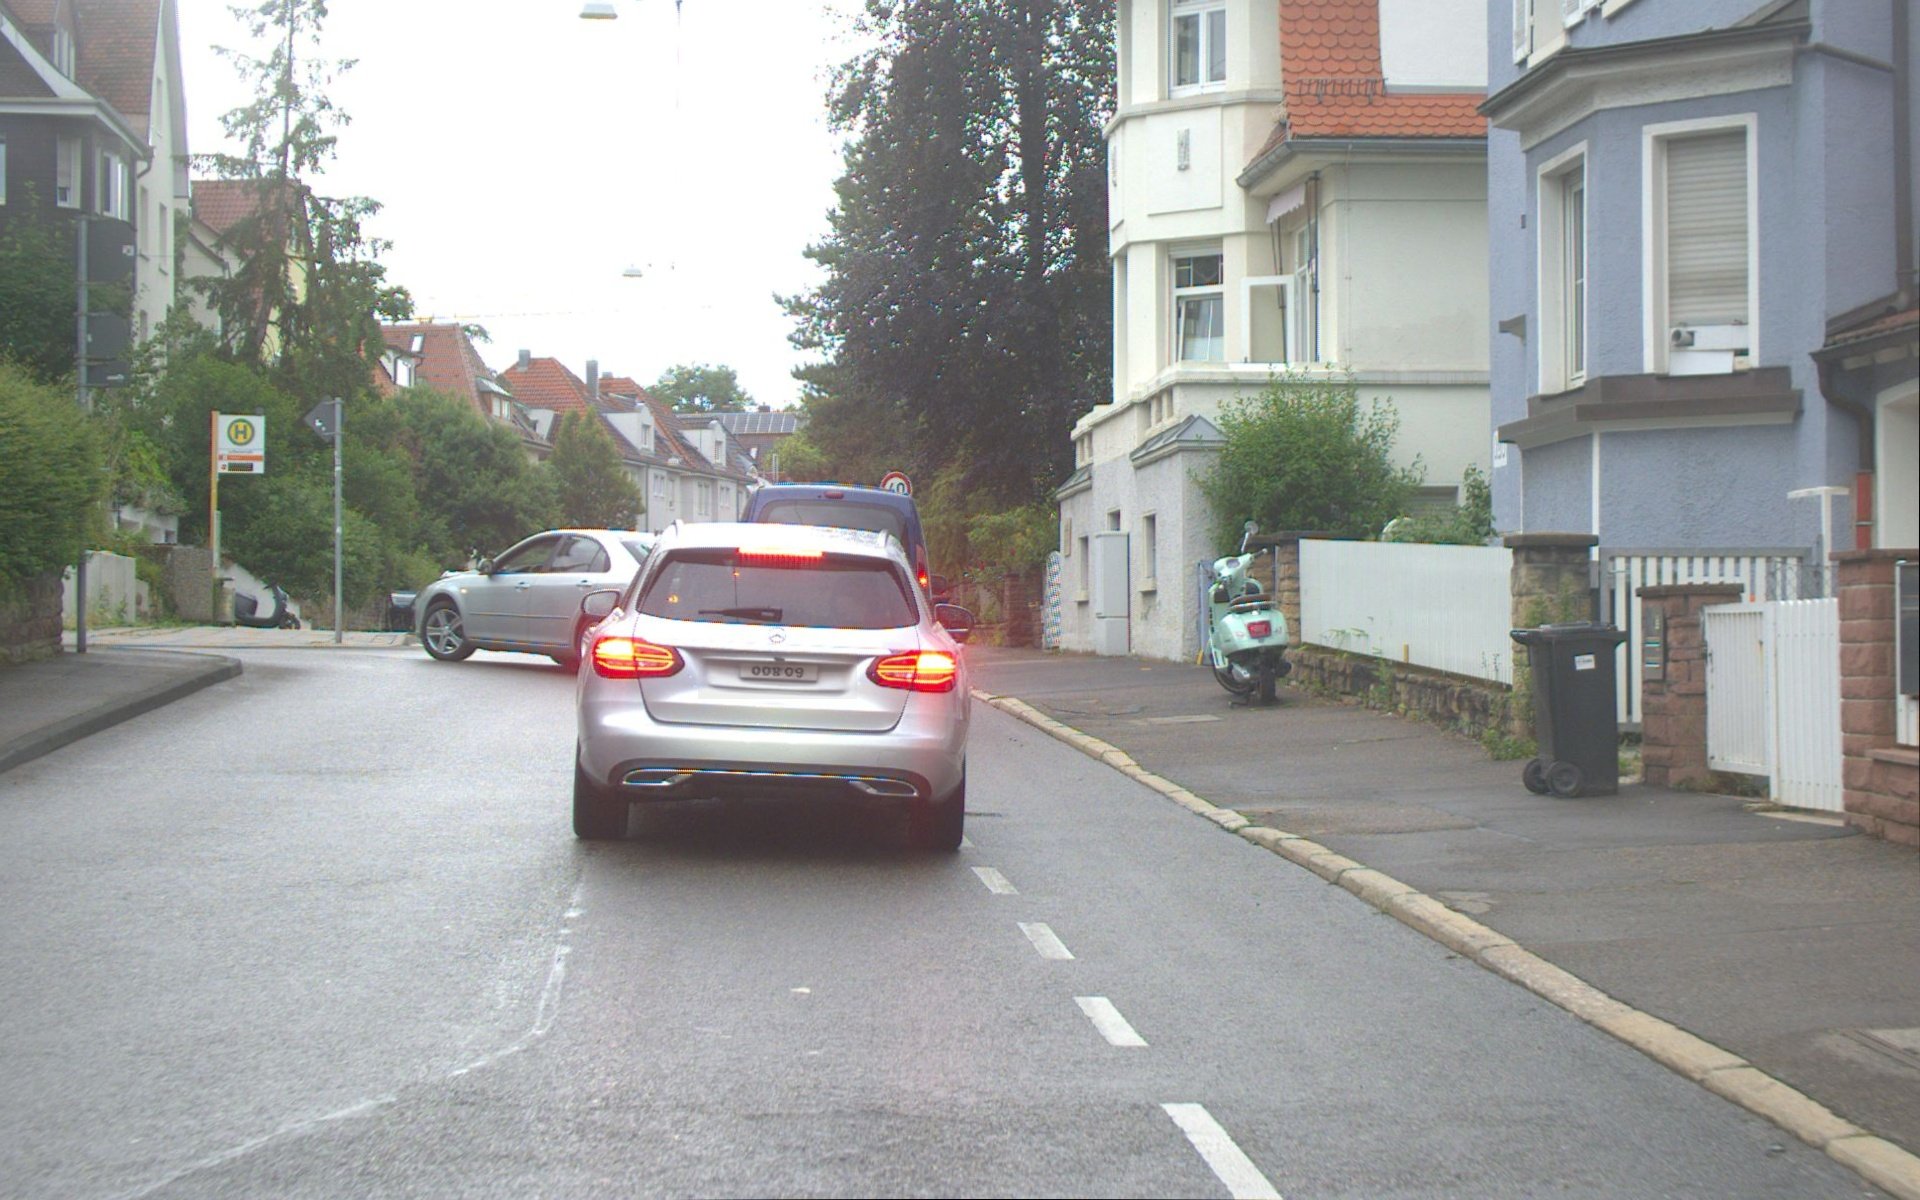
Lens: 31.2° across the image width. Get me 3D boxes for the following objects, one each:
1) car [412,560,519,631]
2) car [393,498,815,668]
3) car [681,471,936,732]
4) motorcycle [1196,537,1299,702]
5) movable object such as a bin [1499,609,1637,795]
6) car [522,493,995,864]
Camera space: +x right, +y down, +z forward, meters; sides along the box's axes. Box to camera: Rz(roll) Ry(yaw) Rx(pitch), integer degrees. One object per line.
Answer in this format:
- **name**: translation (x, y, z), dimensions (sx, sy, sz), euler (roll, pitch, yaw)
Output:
- **car**: translation (-10.905, -0.127, 76.043), dimensions (2.116, 1.466, 4.018), euler (0, 1, -5)
- **car**: translation (-3.588, -0.214, 34.062), dimensions (1.994, 1.534, 4.331), euler (0, 2, -41)
- **car**: translation (-1.152, -0.054, 27.219), dimensions (1.824, 1.876, 4.096), euler (-1, 2, -1)
- **motorcycle**: translation (2.333, 0.132, 28.096), dimensions (0.582, 1.257, 2.331), euler (-2, 1, -1)
- **movable object such as a bin**: translation (3.251, 0.536, 18.417), dimensions (0.549, 0.932, 0.634), euler (-3, 2, -3)
- **car**: translation (-0.944, 0.277, 16.741), dimensions (1.982, 1.548, 4.298), euler (1, 1, -2)
